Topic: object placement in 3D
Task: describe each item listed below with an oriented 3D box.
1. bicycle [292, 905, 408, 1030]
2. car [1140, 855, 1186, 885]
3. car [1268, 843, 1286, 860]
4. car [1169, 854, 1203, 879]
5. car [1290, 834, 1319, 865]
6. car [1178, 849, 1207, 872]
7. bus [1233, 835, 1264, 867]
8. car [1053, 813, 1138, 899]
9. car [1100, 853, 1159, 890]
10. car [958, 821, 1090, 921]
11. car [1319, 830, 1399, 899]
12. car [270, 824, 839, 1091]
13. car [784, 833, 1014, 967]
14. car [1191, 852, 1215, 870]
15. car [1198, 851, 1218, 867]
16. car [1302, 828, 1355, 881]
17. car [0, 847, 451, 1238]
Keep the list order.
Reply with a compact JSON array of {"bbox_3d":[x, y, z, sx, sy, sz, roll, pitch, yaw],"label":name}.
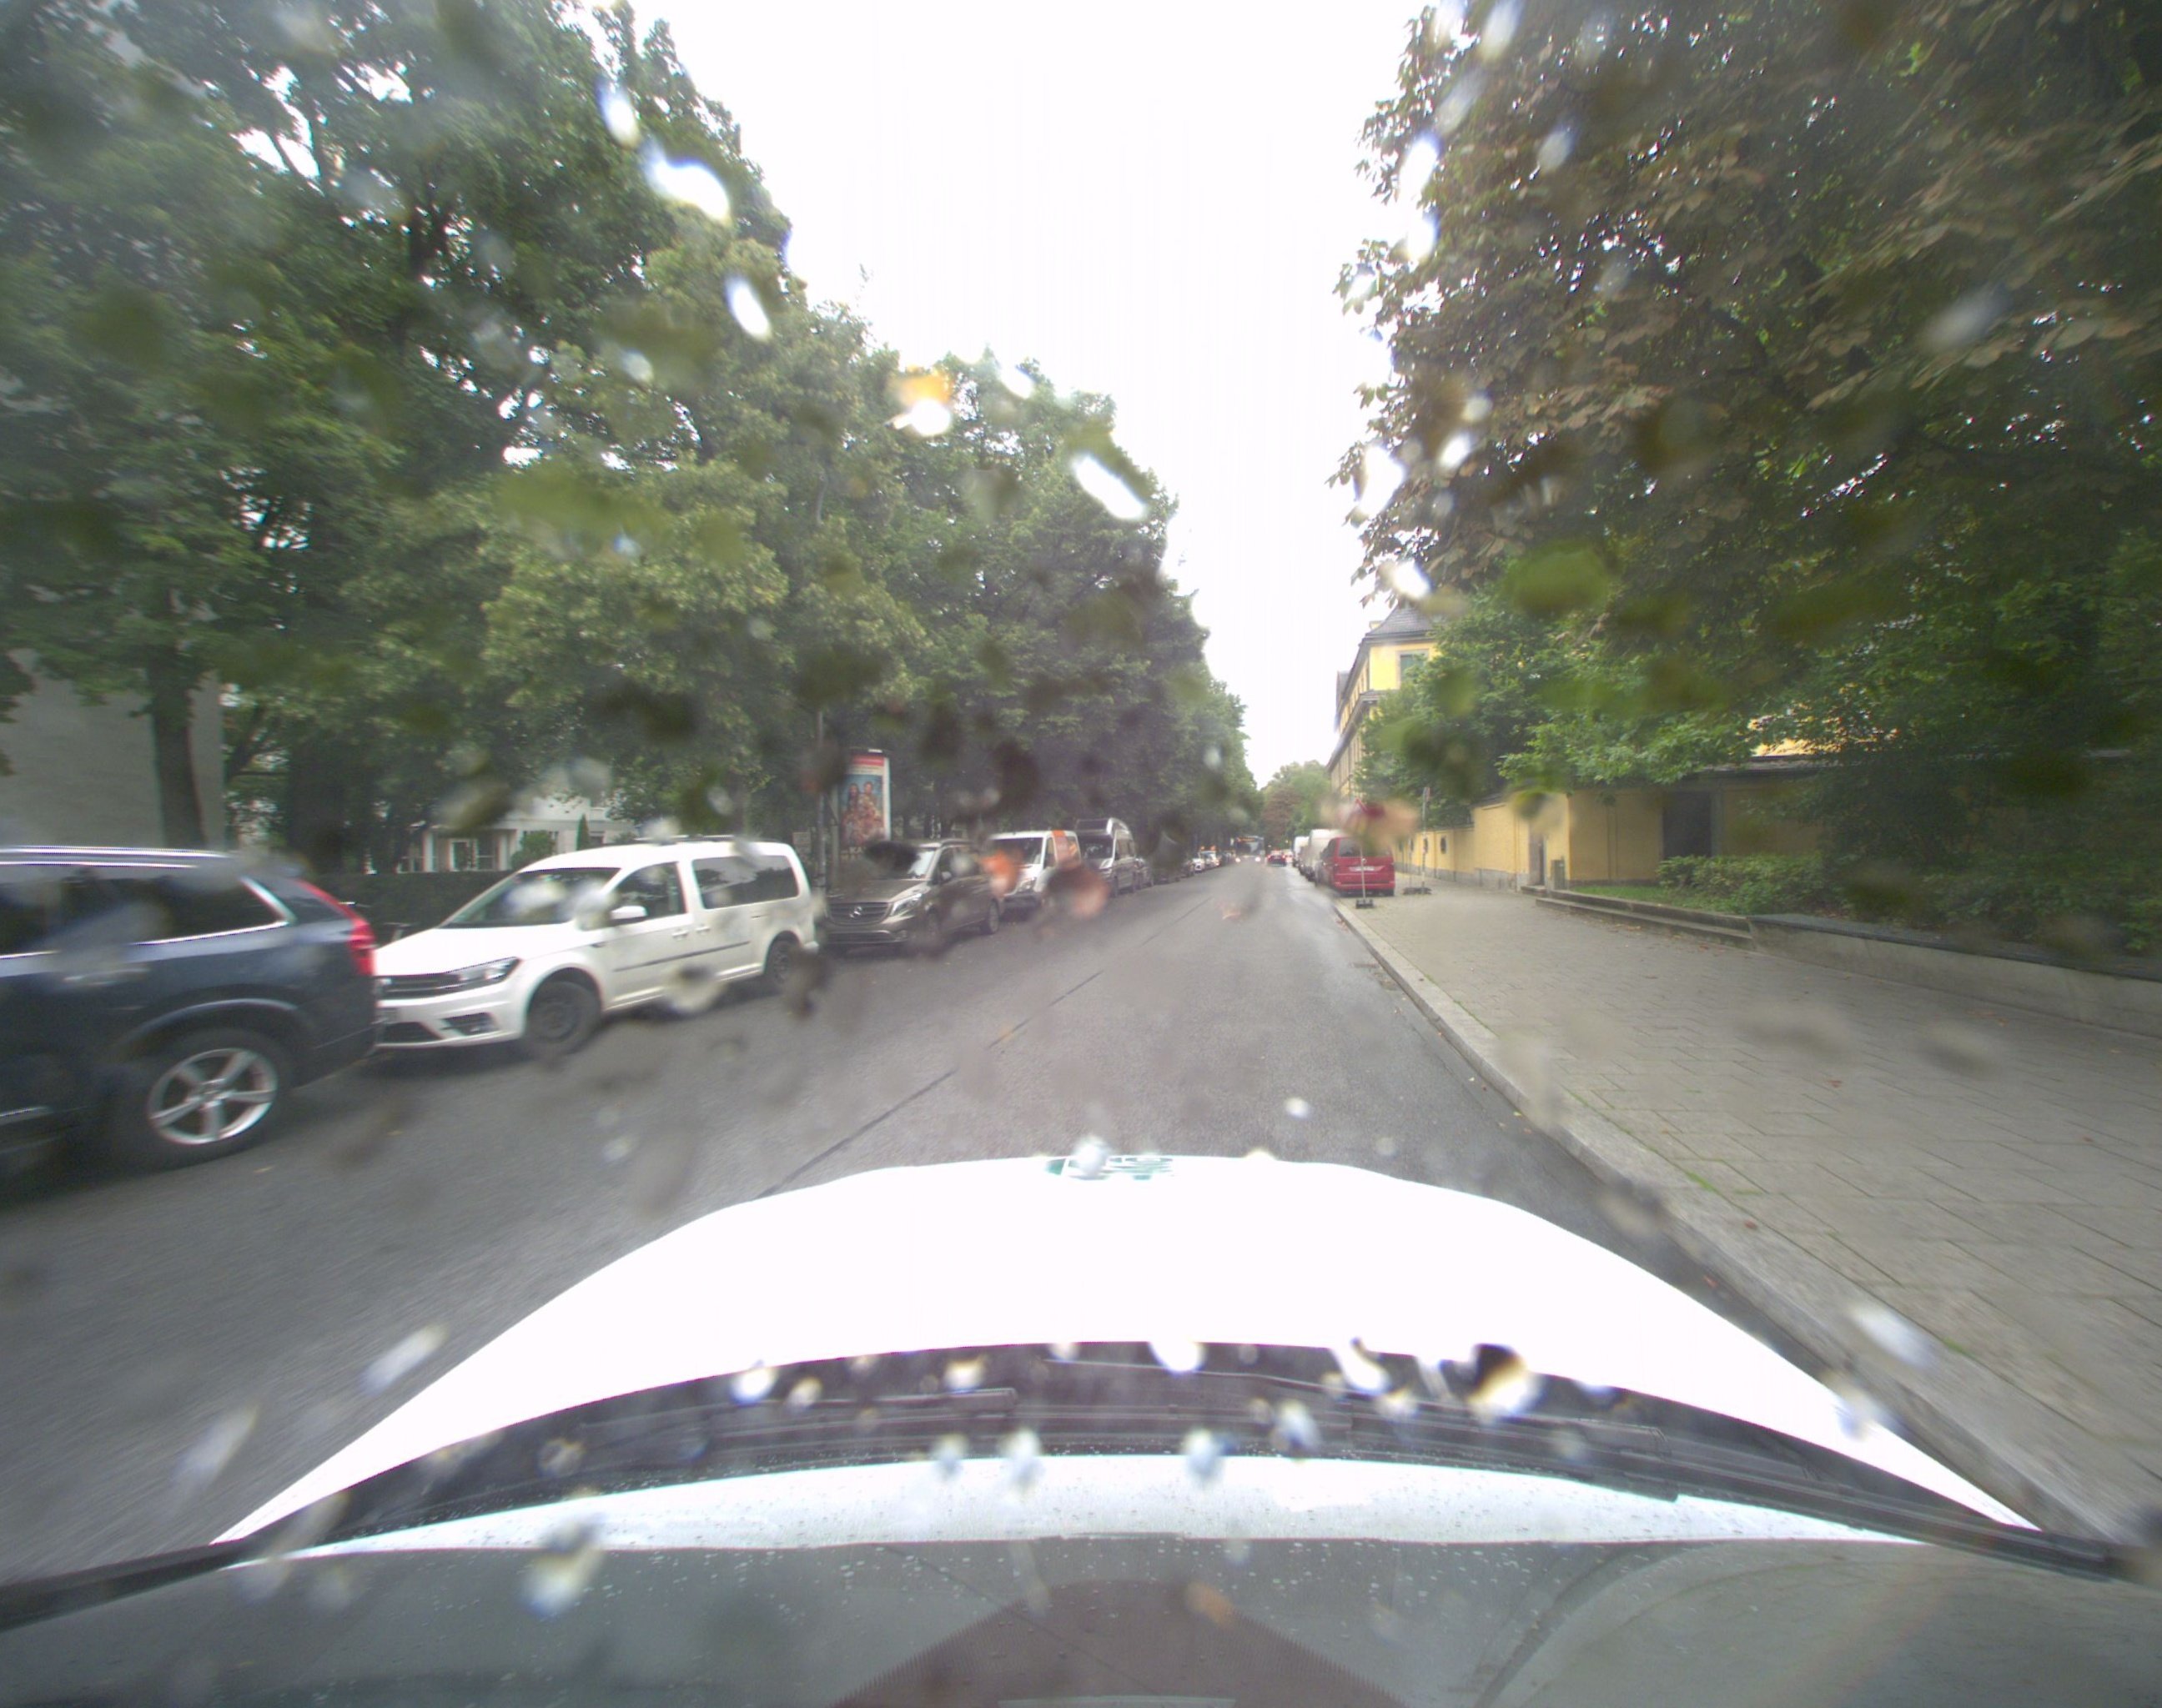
[{"bbox_3d":[-7.304,1.108,8.162,0.696,1.151,0.556,-1,-1,-19],"label":"bicycle"},{"bbox_3d":[4.282,0.805,41.942,1.778,1.438,4.566,-2,-1,12],"label":"car"},{"bbox_3d":[18.752,-0.222,77.819,1.566,1.584,4.060,-2,0,14],"label":"car"},{"bbox_3d":[6.607,0.758,50.999,1.778,1.454,3.962,-2,-1,12],"label":"car"},{"bbox_3d":[20.210,-0.371,73.848,2.041,2.673,7.639,-2,-1,12],"label":"car"},{"bbox_3d":[8.450,0.493,61.651,1.772,1.597,4.599,-1,-1,12],"label":"car"},{"bbox_3d":[19.200,-0.206,92.620,2.840,3.239,18.490,-2,-1,13],"label":"bus"},{"bbox_3d":[0.703,0.115,30.625,1.932,2.854,6.257,-2,-1,12],"label":"car"},{"bbox_3d":[2.263,0.755,36.957,1.777,1.438,4.596,-2,0,14],"label":"car"},{"bbox_3d":[-1.353,0.452,22.160,2.100,2.349,5.426,-2,-1,12],"label":"car"},{"bbox_3d":[8.903,0.358,26.497,1.846,1.967,5.463,-2,-1,12],"label":"car"},{"bbox_3d":[-4.768,0.763,8.488,1.865,1.937,4.854,-3,0,17],"label":"car"},{"bbox_3d":[-3.017,0.692,15.044,1.932,1.963,5.478,-3,0,12],"label":"car"},{"bbox_3d":[10.153,0.564,67.716,1.661,1.469,4.117,-1,-1,12],"label":"car"},{"bbox_3d":[12.024,0.460,77.014,1.661,1.469,4.117,-1,-1,12],"label":"car"},{"bbox_3d":[12.627,0.054,41.823,2.081,2.488,5.759,-2,-1,12],"label":"car"},{"bbox_3d":[-5.955,0.870,3.418,1.865,1.768,5.081,-2,-1,17],"label":"car"}]
